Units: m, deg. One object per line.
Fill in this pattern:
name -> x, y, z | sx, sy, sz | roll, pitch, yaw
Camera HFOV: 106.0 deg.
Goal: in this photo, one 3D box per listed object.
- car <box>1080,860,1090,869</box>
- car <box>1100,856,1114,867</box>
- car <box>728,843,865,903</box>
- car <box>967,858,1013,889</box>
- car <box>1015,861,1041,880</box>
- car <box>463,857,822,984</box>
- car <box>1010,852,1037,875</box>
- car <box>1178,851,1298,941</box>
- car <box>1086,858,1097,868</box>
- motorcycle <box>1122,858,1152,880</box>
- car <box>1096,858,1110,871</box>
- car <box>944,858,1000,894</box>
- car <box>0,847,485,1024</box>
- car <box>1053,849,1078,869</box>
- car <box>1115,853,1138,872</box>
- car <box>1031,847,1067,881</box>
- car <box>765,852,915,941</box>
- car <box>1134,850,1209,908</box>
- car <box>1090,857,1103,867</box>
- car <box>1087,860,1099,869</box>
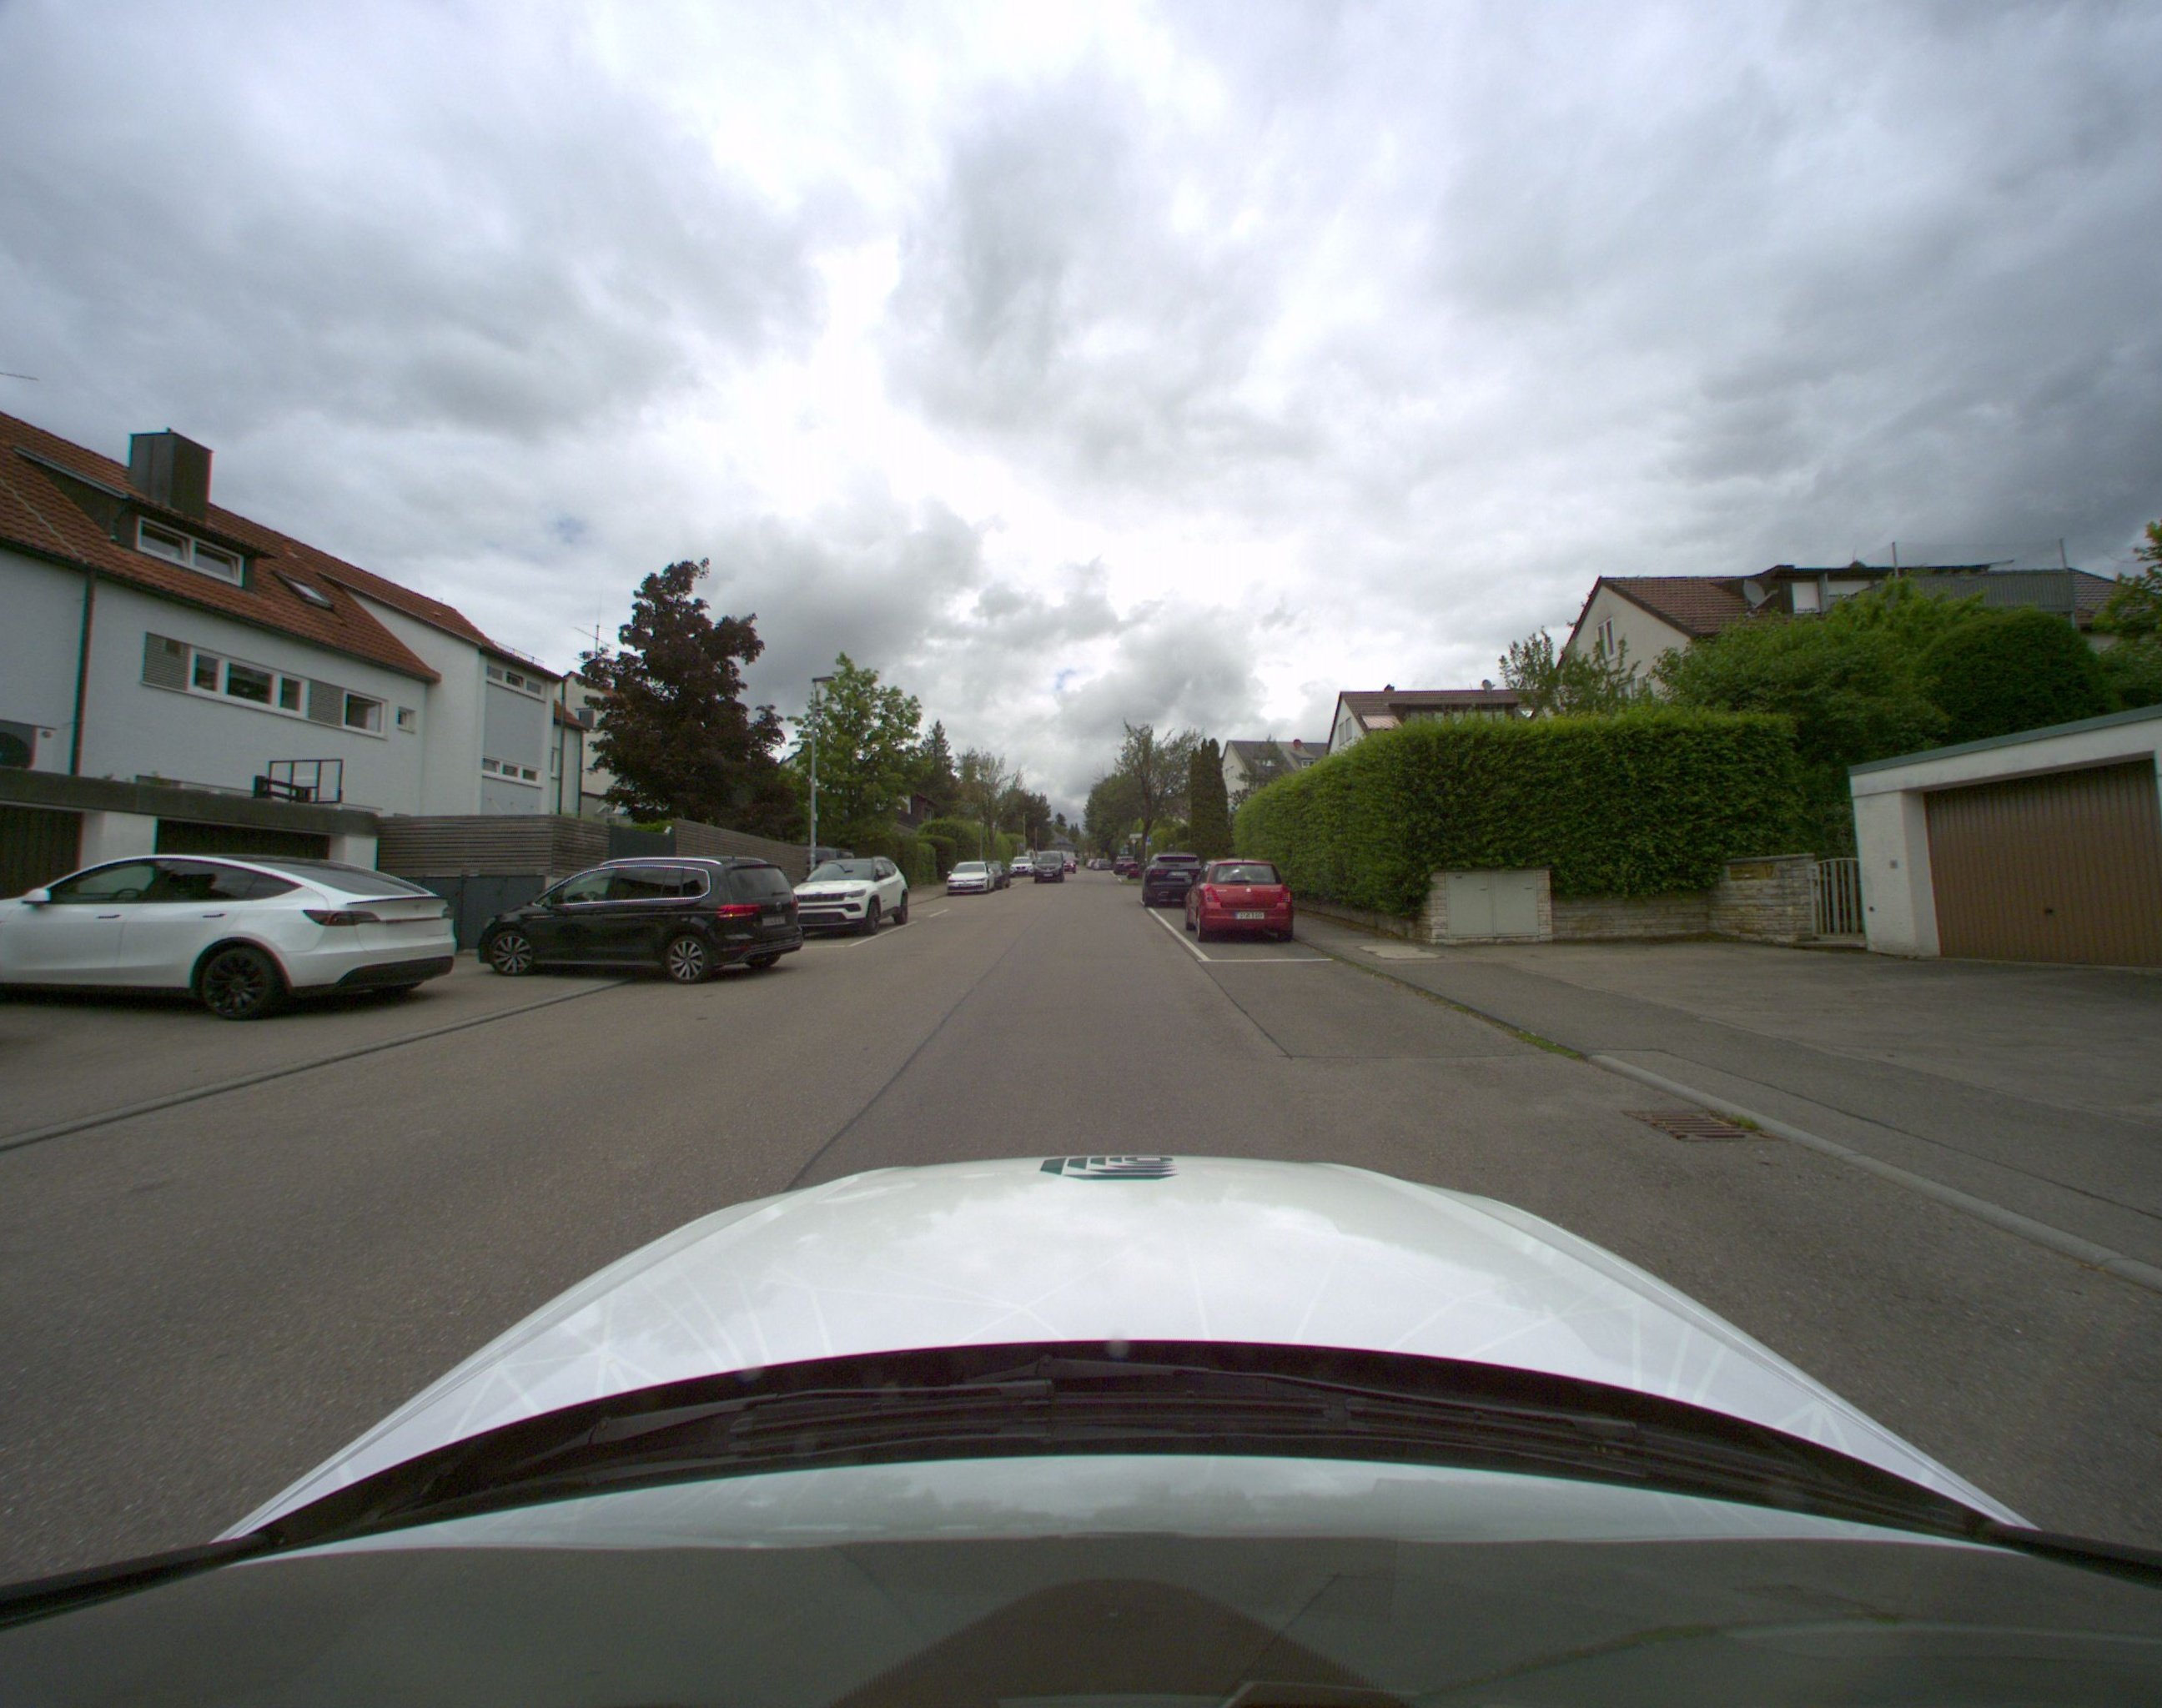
car -> 0.745, 2.015, 158.252 | 1.640, 1.668, 3.463 | -1, 0, -3
car -> 3.527, 1.008, 111.426 | 1.661, 1.501, 3.463 | -1, 0, -3
car -> -9.980, 0.679, 28.716 | 4.049, 1.950, 2.005 | -1, -1, 8
car -> -4.578, 0.949, 41.346 | 1.721, 1.423, 4.080 | -2, 0, 1
car -> -4.381, 1.382, 67.211 | 1.756, 1.388, 4.000 | -3, -1, 1
car -> -6.166, 0.853, 11.681 | 4.270, 1.611, 1.859 | 0, 0, 10
car -> -4.286, 0.679, 61.192 | 1.718, 1.540, 3.998 | -2, 0, -1
car -> 2.912, 0.716, 15.808 | 1.655, 1.508, 3.759 | -1, 0, 1
car -> 1.796, 1.545, 142.873 | 1.661, 1.668, 3.463 | -1, 0, -3
motorcycle -> 3.458, 0.920, 50.427 | 1.876, 1.346, 0.593 | -1, 0, -35
car -> 3.083, 1.475, 116.060 | 1.710, 1.657, 3.618 | -1, 0, -3
car -> -4.846, 0.936, 36.696 | 1.831, 1.422, 4.408 | -3, 0, 0
car -> -9.518, 0.802, 8.982 | 4.397, 1.629, 1.910 | 2, 0, -1
car -> -1.337, 0.405, 72.502 | 1.934, 1.647, 4.258 | -3, 0, 1
car -> 3.774, 0.704, 68.415 | 1.875, 1.533, 4.477 | 0, 0, 2
car -> -1.873, 0.580, 48.872 | 1.879, 1.851, 4.401 | -2, 0, 0
car -> -5.159, 0.826, 18.099 | 1.830, 1.666, 4.410 | -3, 0, 2
car -> 2.769, 0.734, 25.808 | 1.986, 1.618, 4.514 | 1, 0, 1
car -> 2.401, 1.258, 125.579 | 1.661, 1.501, 3.463 | -1, 0, -3
car -> 2.014, 1.721, 136.120 | 1.661, 1.501, 3.463 | -1, 0, -3
